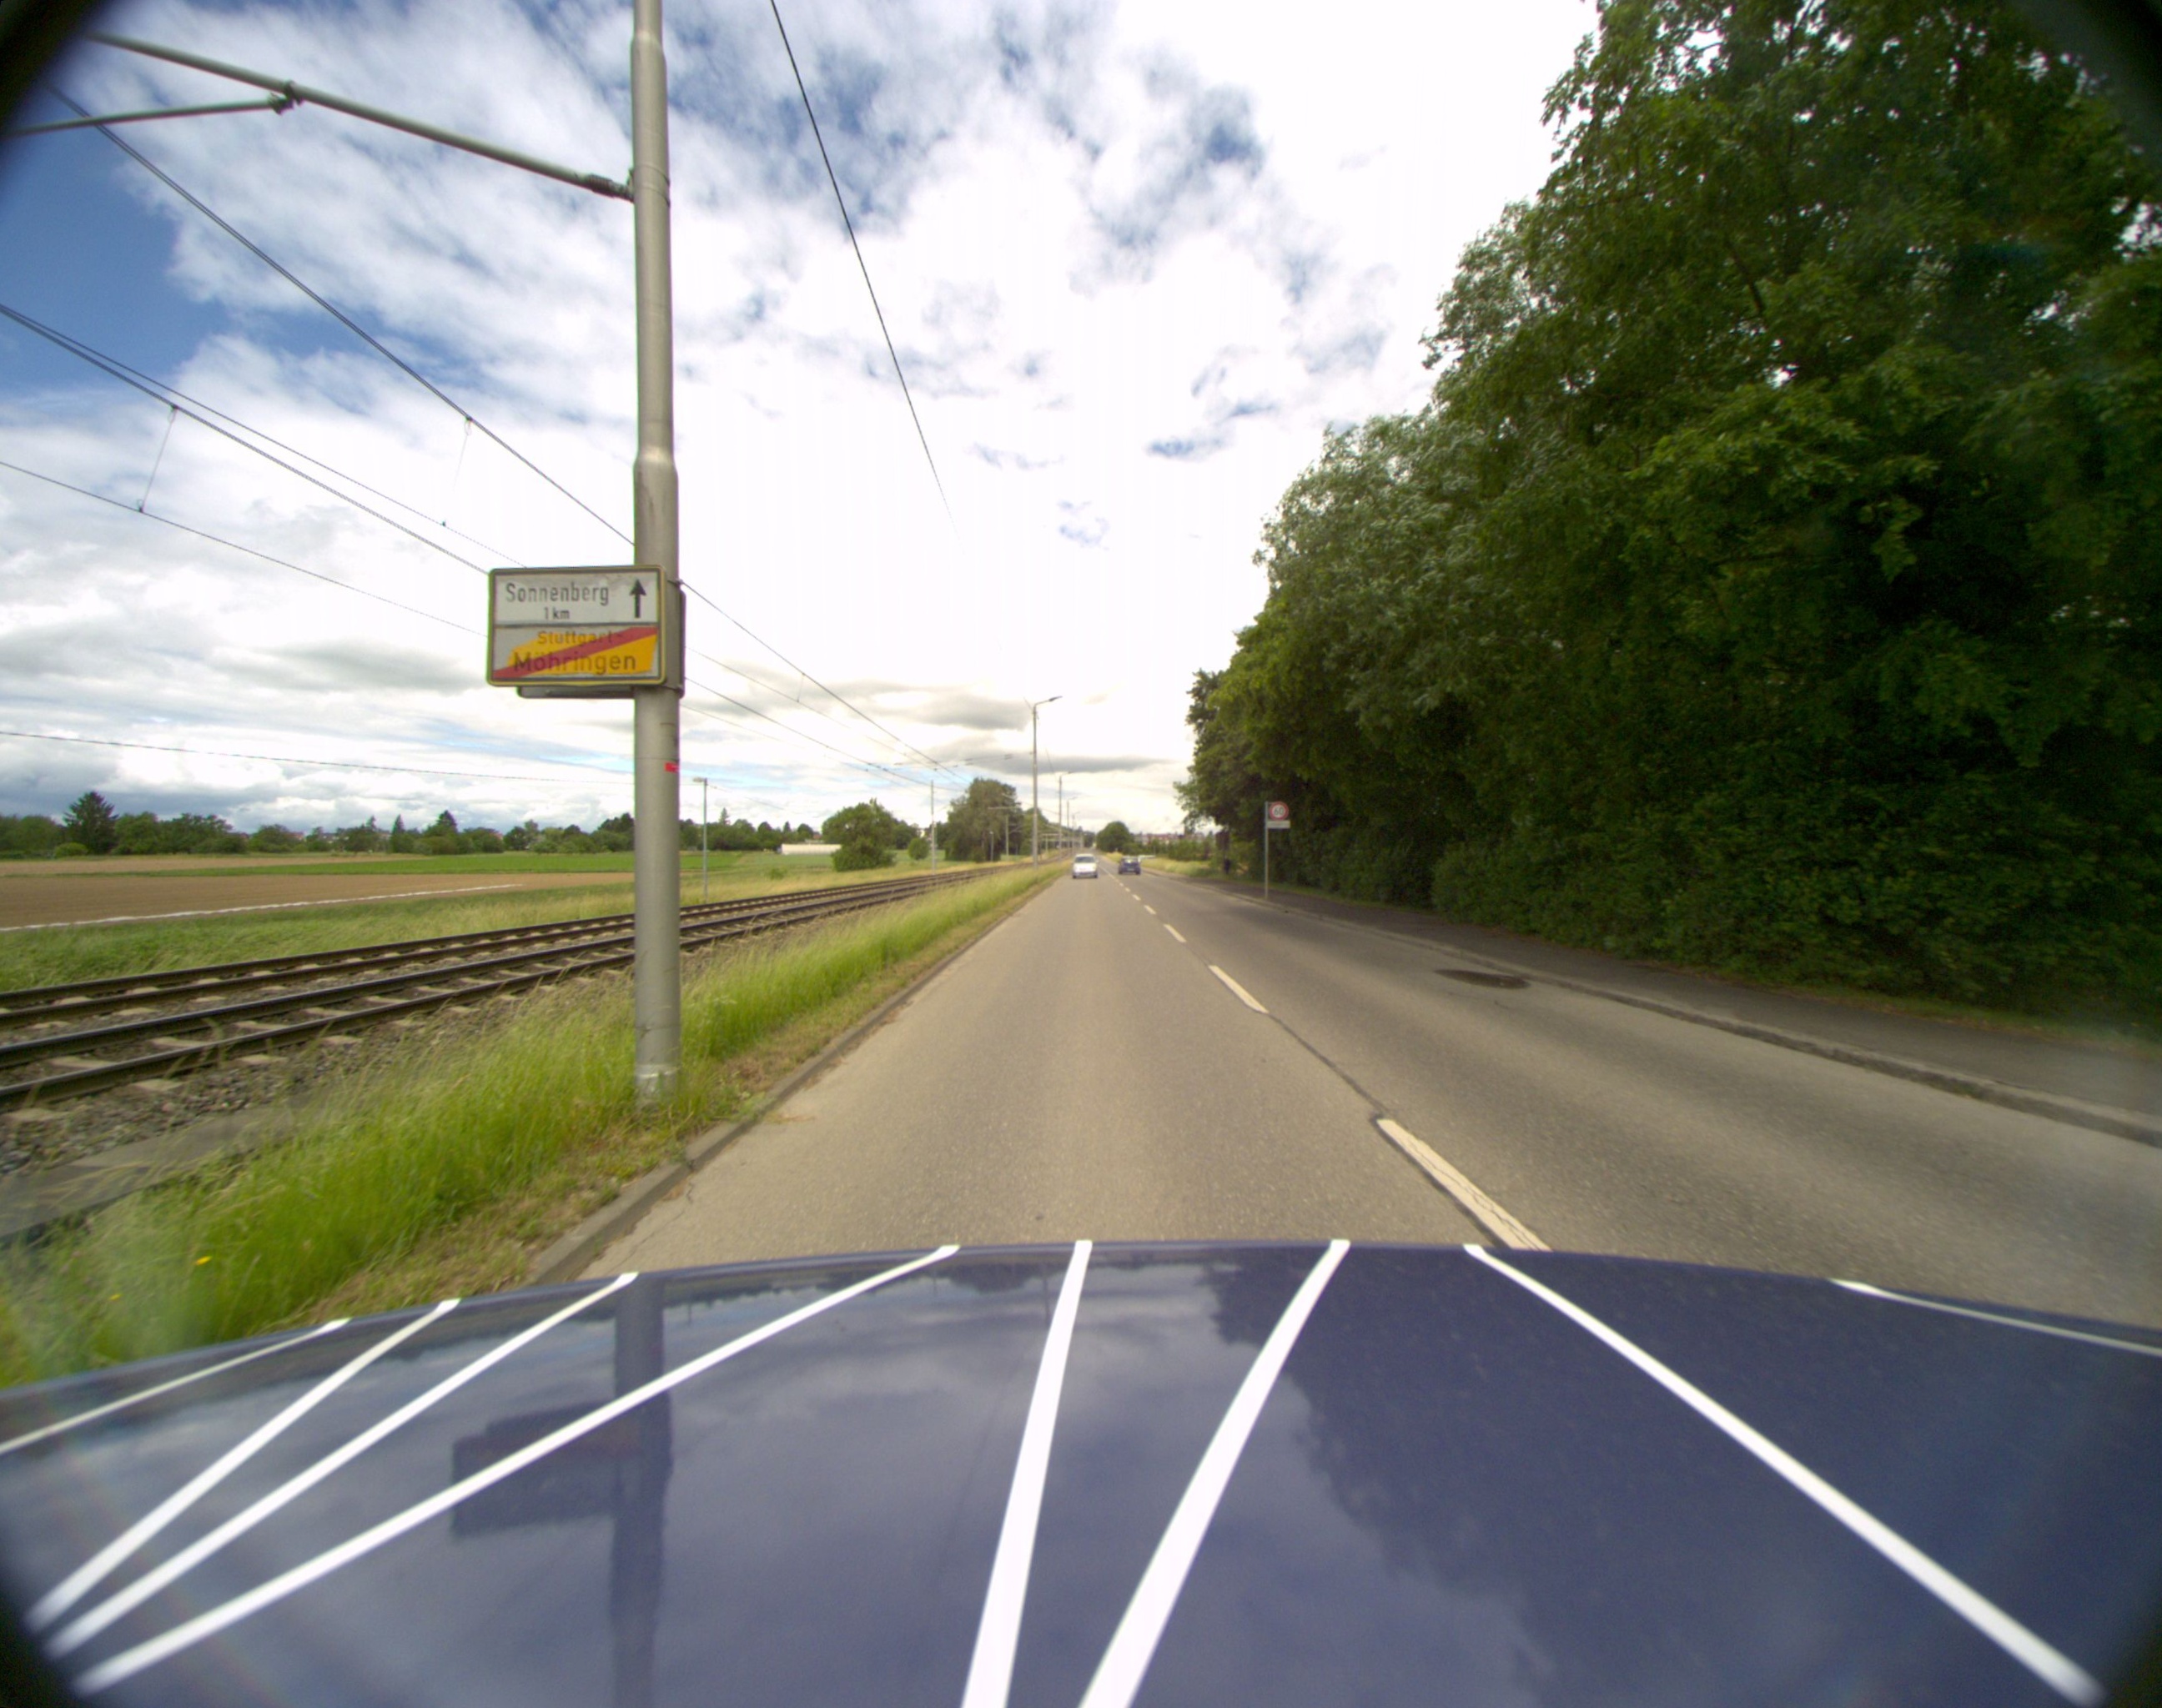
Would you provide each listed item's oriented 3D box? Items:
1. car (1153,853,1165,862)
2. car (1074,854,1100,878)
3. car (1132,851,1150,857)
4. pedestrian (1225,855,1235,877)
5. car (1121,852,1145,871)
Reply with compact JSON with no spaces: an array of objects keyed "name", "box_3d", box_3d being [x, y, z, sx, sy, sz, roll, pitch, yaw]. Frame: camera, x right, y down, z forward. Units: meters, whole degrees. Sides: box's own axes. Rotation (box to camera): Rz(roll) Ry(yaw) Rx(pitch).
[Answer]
[{"name":"car","box_3d":[11.707,0.559,114.406,1.451,1.244,3.599,-2,1,1]},{"name":"car","box_3d":[0.442,0.794,51.774,1.643,1.510,3.868,-2,1,1]},{"name":"car","box_3d":[12.098,0.008,153.313,3.216,1.244,1.455,-1,1,29]},{"name":"pedestrian","box_3d":[10.504,0.851,53.495,0.706,1.584,0.707,0,-1,11]},{"name":"car","box_3d":[4.270,0.596,63.051,1.711,1.519,3.824,1,1,1]}]
